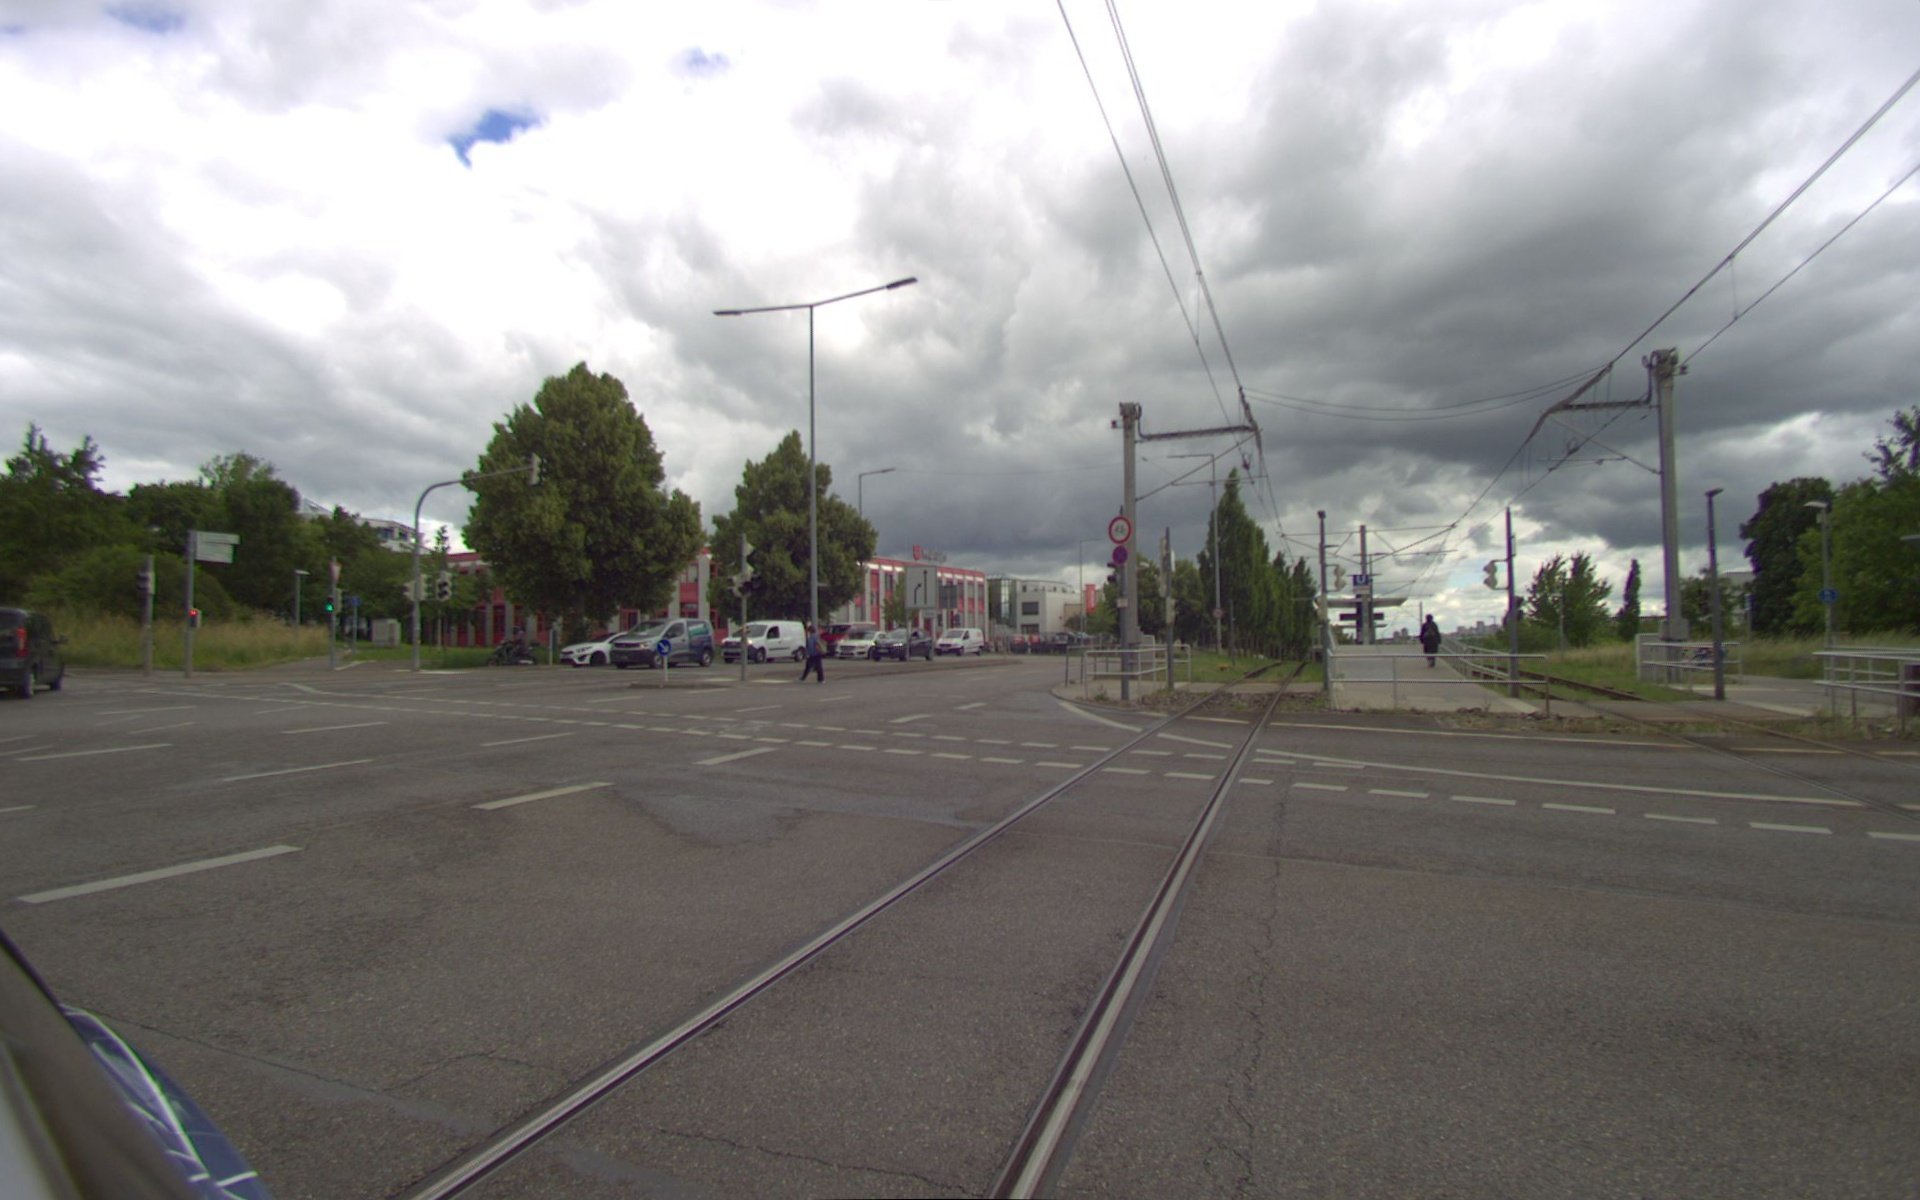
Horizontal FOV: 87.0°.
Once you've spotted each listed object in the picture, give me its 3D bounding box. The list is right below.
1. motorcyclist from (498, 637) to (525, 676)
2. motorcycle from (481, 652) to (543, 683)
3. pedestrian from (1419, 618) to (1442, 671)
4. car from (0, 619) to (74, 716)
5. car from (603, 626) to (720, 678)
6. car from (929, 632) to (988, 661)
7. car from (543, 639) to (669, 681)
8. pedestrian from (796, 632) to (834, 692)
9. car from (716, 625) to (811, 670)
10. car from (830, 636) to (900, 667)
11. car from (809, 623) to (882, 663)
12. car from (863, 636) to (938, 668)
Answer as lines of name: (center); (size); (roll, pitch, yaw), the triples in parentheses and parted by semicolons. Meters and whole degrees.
motorcyclist: (-16.762, 2.116, 37.804); (0.803, 1.432, 0.761); (1, -4, -32)
motorcycle: (-16.728, 2.498, 37.805); (2.034, 1.099, 0.761); (1, -4, -32)
pedestrian: (14.461, 1.373, 31.100); (0.561, 1.584, 0.541); (-2, 0, 23)
car: (-20.515, 1.411, 21.467); (1.967, 1.891, 4.903); (1, -3, -34)
car: (-10.724, 1.855, 36.665); (1.804, 1.794, 4.187); (-2, -2, 24)
car: (-0.031, 3.173, 69.398); (1.941, 1.920, 5.189); (-2, -2, 27)
car: (-14.123, 2.381, 40.568); (1.834, 1.431, 4.454); (-5, -4, 39)
pedestrian: (-3.786, 1.608, 26.384); (0.712, 1.542, 0.664); (-2, -3, 28)
car: (-8.360, 2.071, 43.474); (1.802, 1.806, 4.661); (-2, -4, 22)
car: (-4.714, 2.617, 50.838); (1.802, 1.351, 4.192); (-1, -6, 21)
car: (-6.219, 2.402, 55.385); (2.170, 1.920, 4.421); (-1, -6, 21)
car: (-2.760, 2.502, 47.951); (1.804, 1.351, 4.187); (-2, -6, 24)
